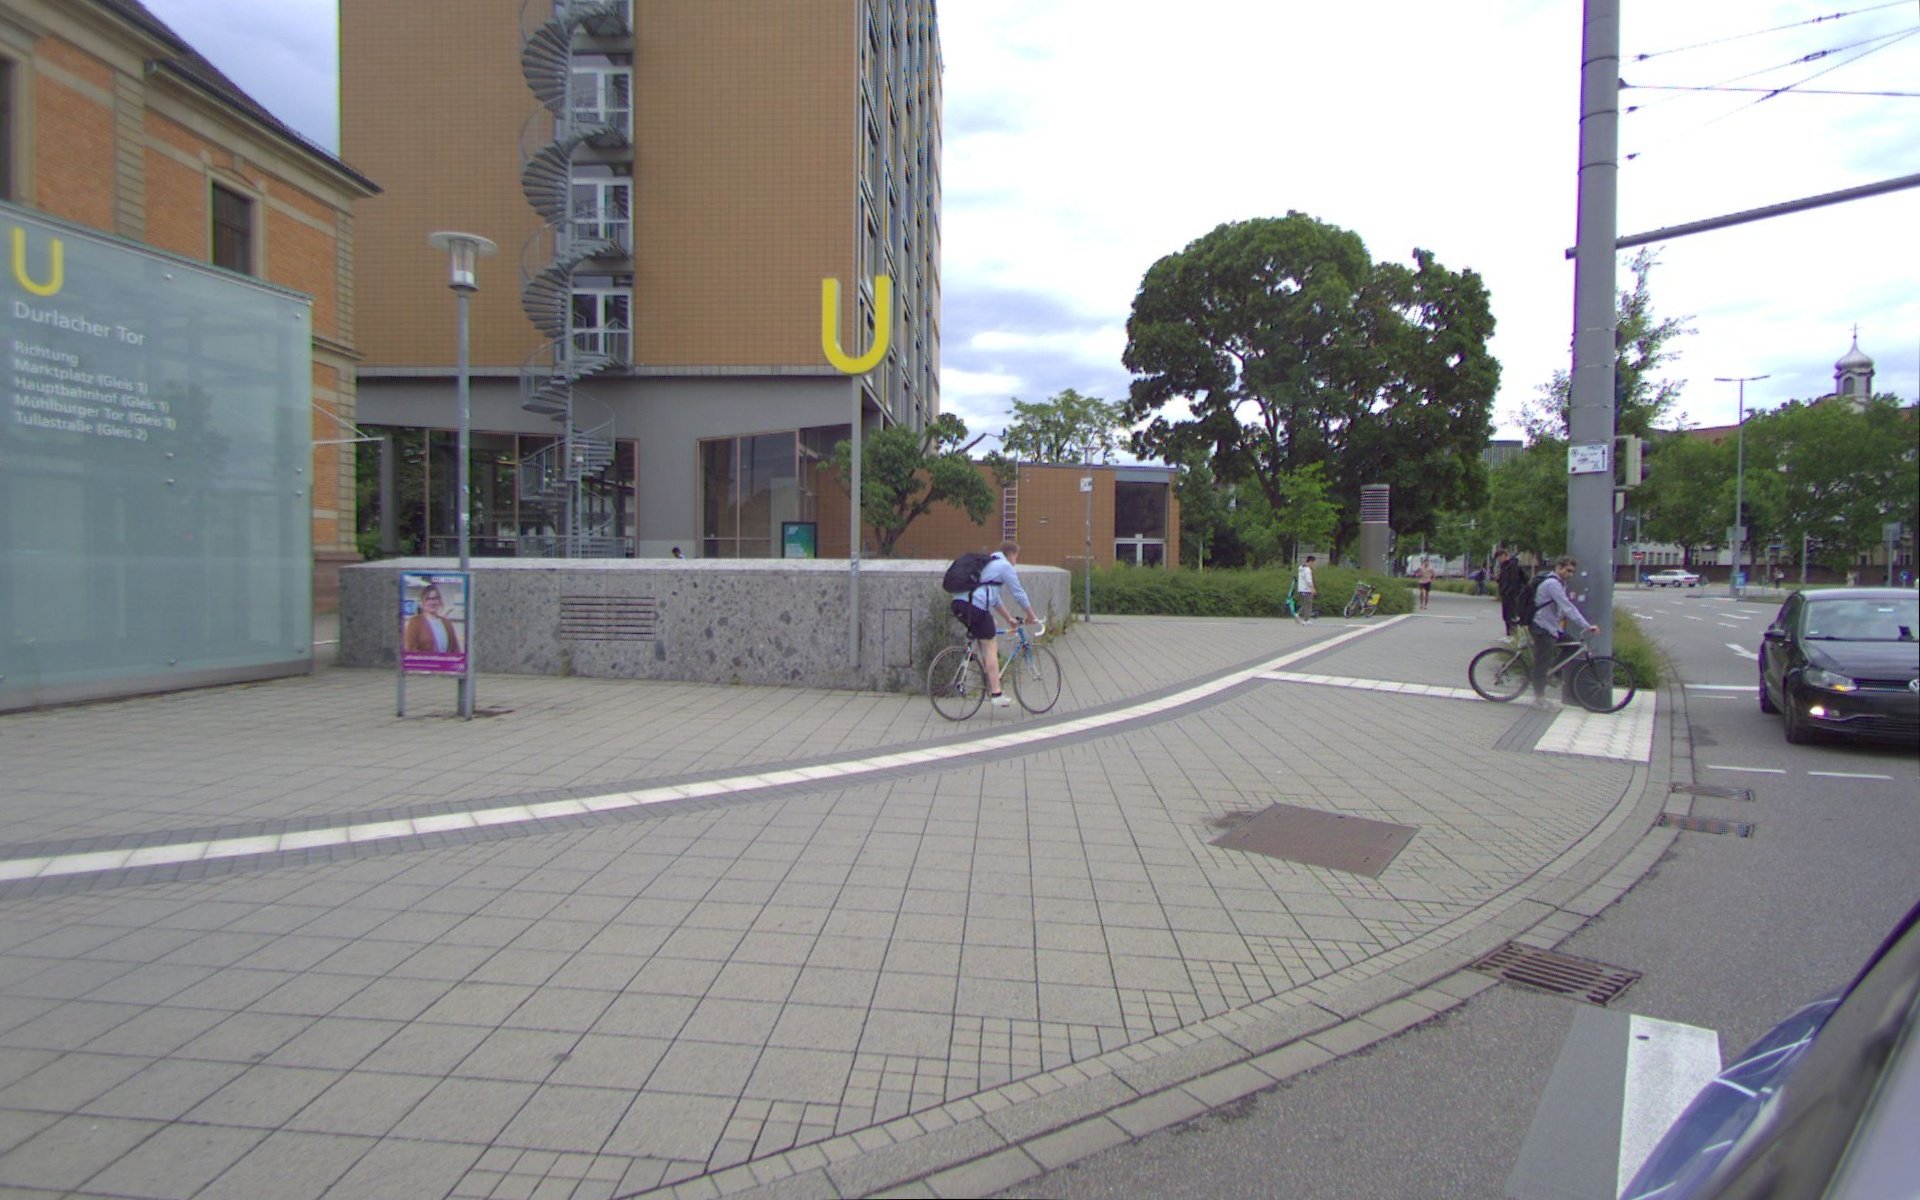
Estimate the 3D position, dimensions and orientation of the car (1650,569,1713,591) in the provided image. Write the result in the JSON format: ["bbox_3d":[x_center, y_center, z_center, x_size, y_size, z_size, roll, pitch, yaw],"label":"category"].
[{"bbox_3d":[60.232,-1.658,84.550,1.959,1.749,4.007,-1,1,-9],"label":"car"}]

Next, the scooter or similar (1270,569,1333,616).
[{"bbox_3d":[9.892,-0.226,29.323,1.575,1.306,0.695,-1,1,2],"label":"scooter or similar"}]

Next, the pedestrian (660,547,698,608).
[{"bbox_3d":[-8.141,-0.653,29.355,0.860,1.758,0.722,0,1,10],"label":"pedestrian"}]

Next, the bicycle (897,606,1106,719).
[{"bbox_3d":[0.393,0.569,9.554,1.820,0.944,0.675,1,4,-22],"label":"bicycle"}]

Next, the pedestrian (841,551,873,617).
[{"bbox_3d":[-2.791,-0.442,27.493,0.856,1.764,0.725,0,1,-5],"label":"pedestrian"}]

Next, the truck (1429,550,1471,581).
[{"bbox_3d":[66.077,-4.652,136.571,2.864,4.075,7.149,-1,1,7],"label":"truck"}]

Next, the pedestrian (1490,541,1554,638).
[{"bbox_3d":[11.479,-0.229,20.699,0.857,1.952,0.724,0,1,0],"label":"pedestrian"}]

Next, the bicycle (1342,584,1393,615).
[{"bbox_3d":[11.961,-0.027,29.707,2.038,0.859,0.557,-1,2,-42],"label":"bicycle"}]

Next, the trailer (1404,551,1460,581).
[{"bbox_3d":[66.891,-4.782,143.761,2.897,4.063,13.788,-1,1,6],"label":"trailer"}]

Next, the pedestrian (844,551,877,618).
[{"bbox_3d":[-2.630,-0.410,26.690,0.856,1.752,0.725,0,1,-5],"label":"pedestrian"}]

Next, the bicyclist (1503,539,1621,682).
[{"bbox_3d":[6.800,0.097,11.489,1.091,1.539,0.752,1,2,29],"label":"bicyclist"}]

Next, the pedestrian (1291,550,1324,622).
[{"bbox_3d":[8.956,-0.375,26.086,0.693,1.827,0.836,1,1,13],"label":"pedestrian"}]

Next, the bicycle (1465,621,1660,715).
[{"bbox_3d":[6.797,0.739,11.523,1.811,0.850,0.760,3,3,29],"label":"bicycle"}]

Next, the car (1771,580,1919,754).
[{"bbox_3d":[9.277,0.535,10.102,1.647,1.430,3.948,1,2,36],"label":"car"}]

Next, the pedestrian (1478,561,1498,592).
[{"bbox_3d":[31.953,-1.441,61.250,0.706,1.822,0.599,2,3,-14],"label":"pedestrian"}]

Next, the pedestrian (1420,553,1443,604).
[{"bbox_3d":[17.208,-0.788,36.918,0.626,1.822,0.591,4,3,29],"label":"pedestrian"}]

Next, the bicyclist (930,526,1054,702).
[{"bbox_3d":[0.286,0.117,9.527,0.907,1.579,0.694,1,2,-22],"label":"bicyclist"}]

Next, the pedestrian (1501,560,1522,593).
[{"bbox_3d":[31.249,-1.357,57.345,0.706,1.822,0.599,2,3,-14],"label":"pedestrian"}]

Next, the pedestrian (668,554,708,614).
[{"bbox_3d":[-7.650,-0.456,28.474,0.860,1.651,0.722,0,1,10],"label":"pedestrian"}]
